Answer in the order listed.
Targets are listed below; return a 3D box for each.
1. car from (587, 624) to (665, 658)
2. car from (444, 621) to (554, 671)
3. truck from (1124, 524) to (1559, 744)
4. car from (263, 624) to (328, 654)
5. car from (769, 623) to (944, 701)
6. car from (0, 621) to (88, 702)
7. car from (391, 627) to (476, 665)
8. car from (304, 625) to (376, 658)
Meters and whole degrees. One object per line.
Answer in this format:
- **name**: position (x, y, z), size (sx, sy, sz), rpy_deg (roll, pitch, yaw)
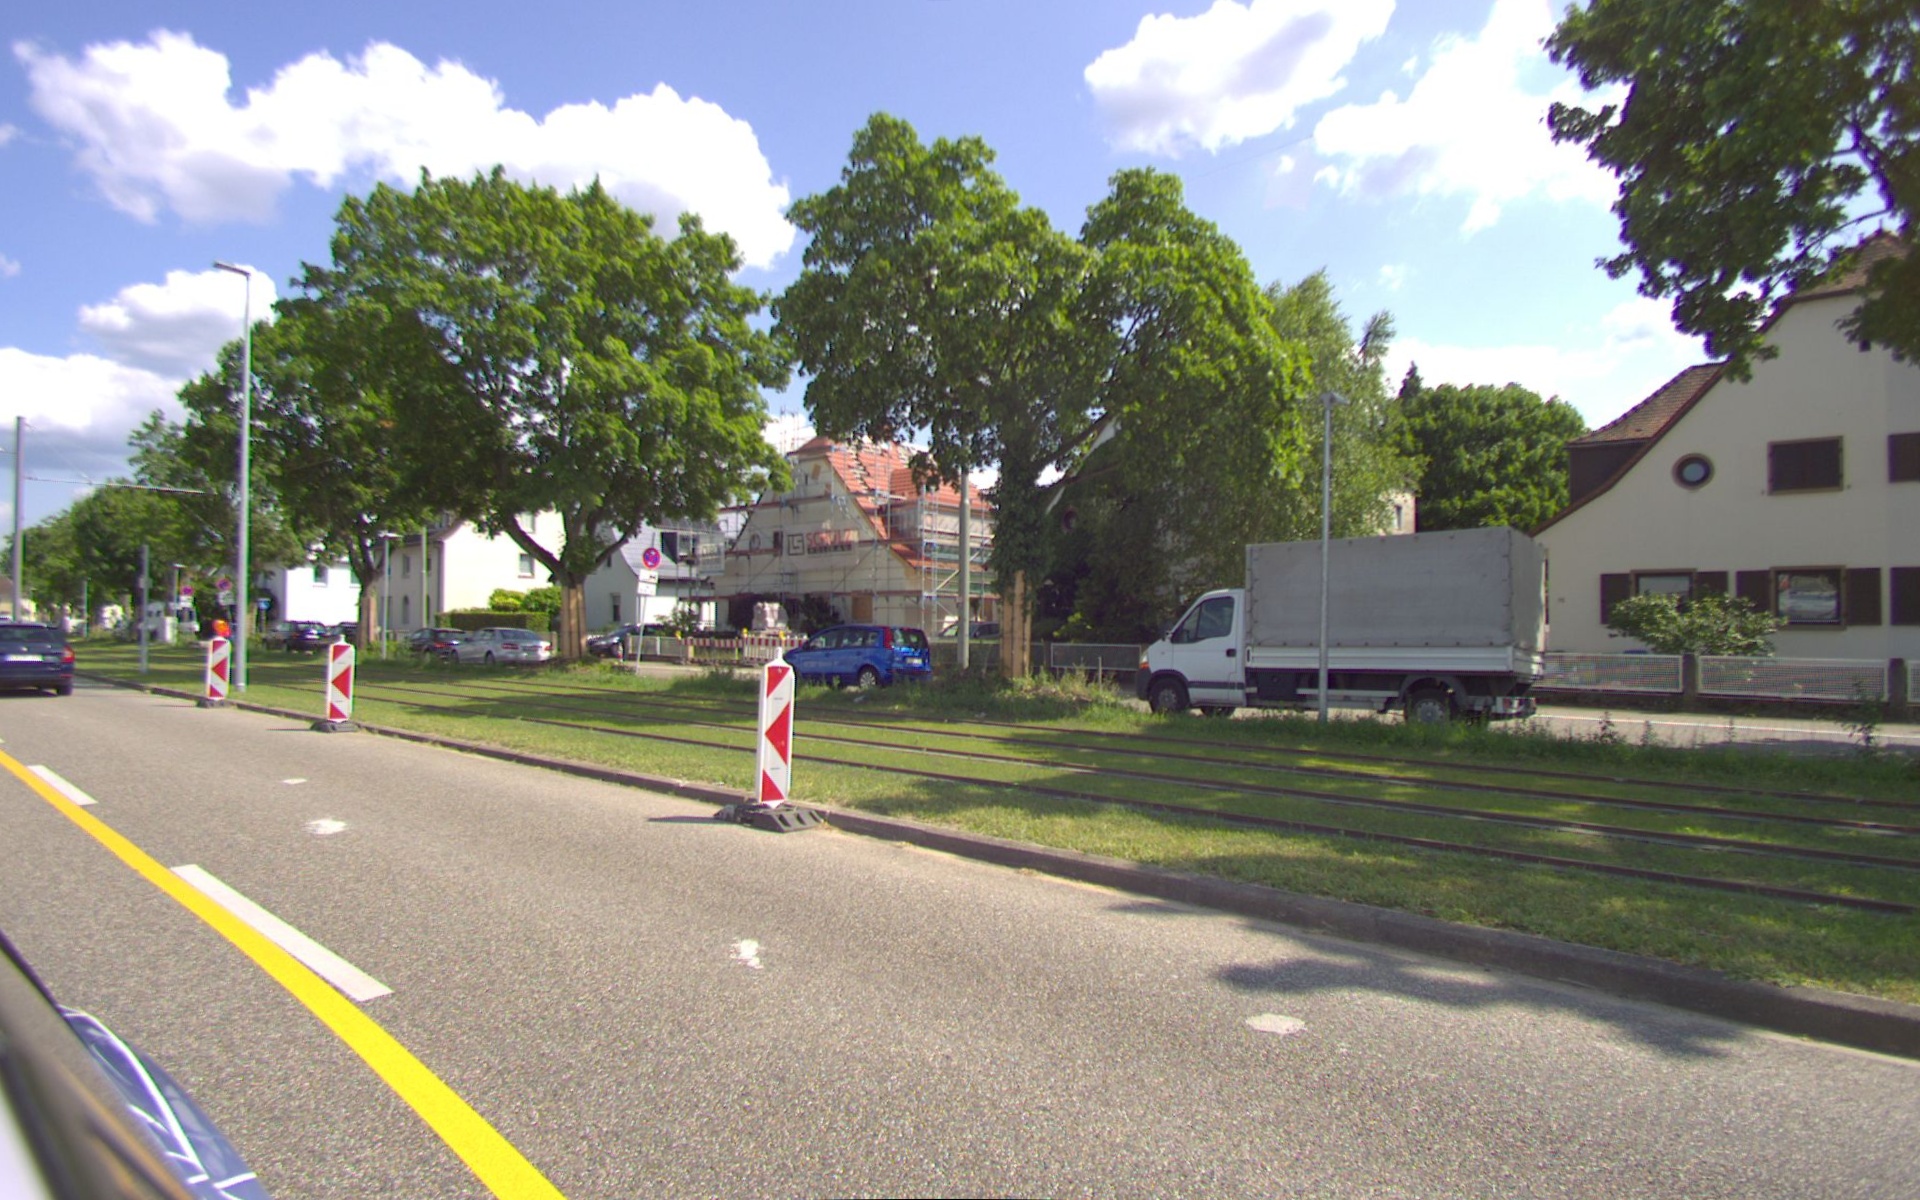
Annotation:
- **car**: position (-14.656, 1.782, 44.489), size (3.190, 1.393, 1.492), rpy_deg (-1, 0, -19)
- **car**: position (-15.666, 1.502, 34.308), size (4.522, 1.524, 1.685), rpy_deg (0, 0, 41)
- **truck**: position (5.742, 0.450, 15.859), size (5.949, 2.826, 2.340), rpy_deg (-1, 0, 41)
- **car**: position (-31.858, 1.827, 48.479), size (3.998, 1.311, 1.615), rpy_deg (0, 0, 41)
- **car**: position (-2.367, 1.307, 22.551), size (3.929, 1.524, 1.651), rpy_deg (0, 0, 41)
- **car**: position (-19.311, 1.183, 20.505), size (4.532, 1.498, 1.694), rpy_deg (-1, -3, 40)
- **car**: position (-19.960, 1.702, 38.327), size (3.785, 1.251, 1.604), rpy_deg (0, 0, 41)
- **car**: position (-27.322, 1.797, 44.557), size (3.998, 1.311, 1.615), rpy_deg (0, 0, 41)
